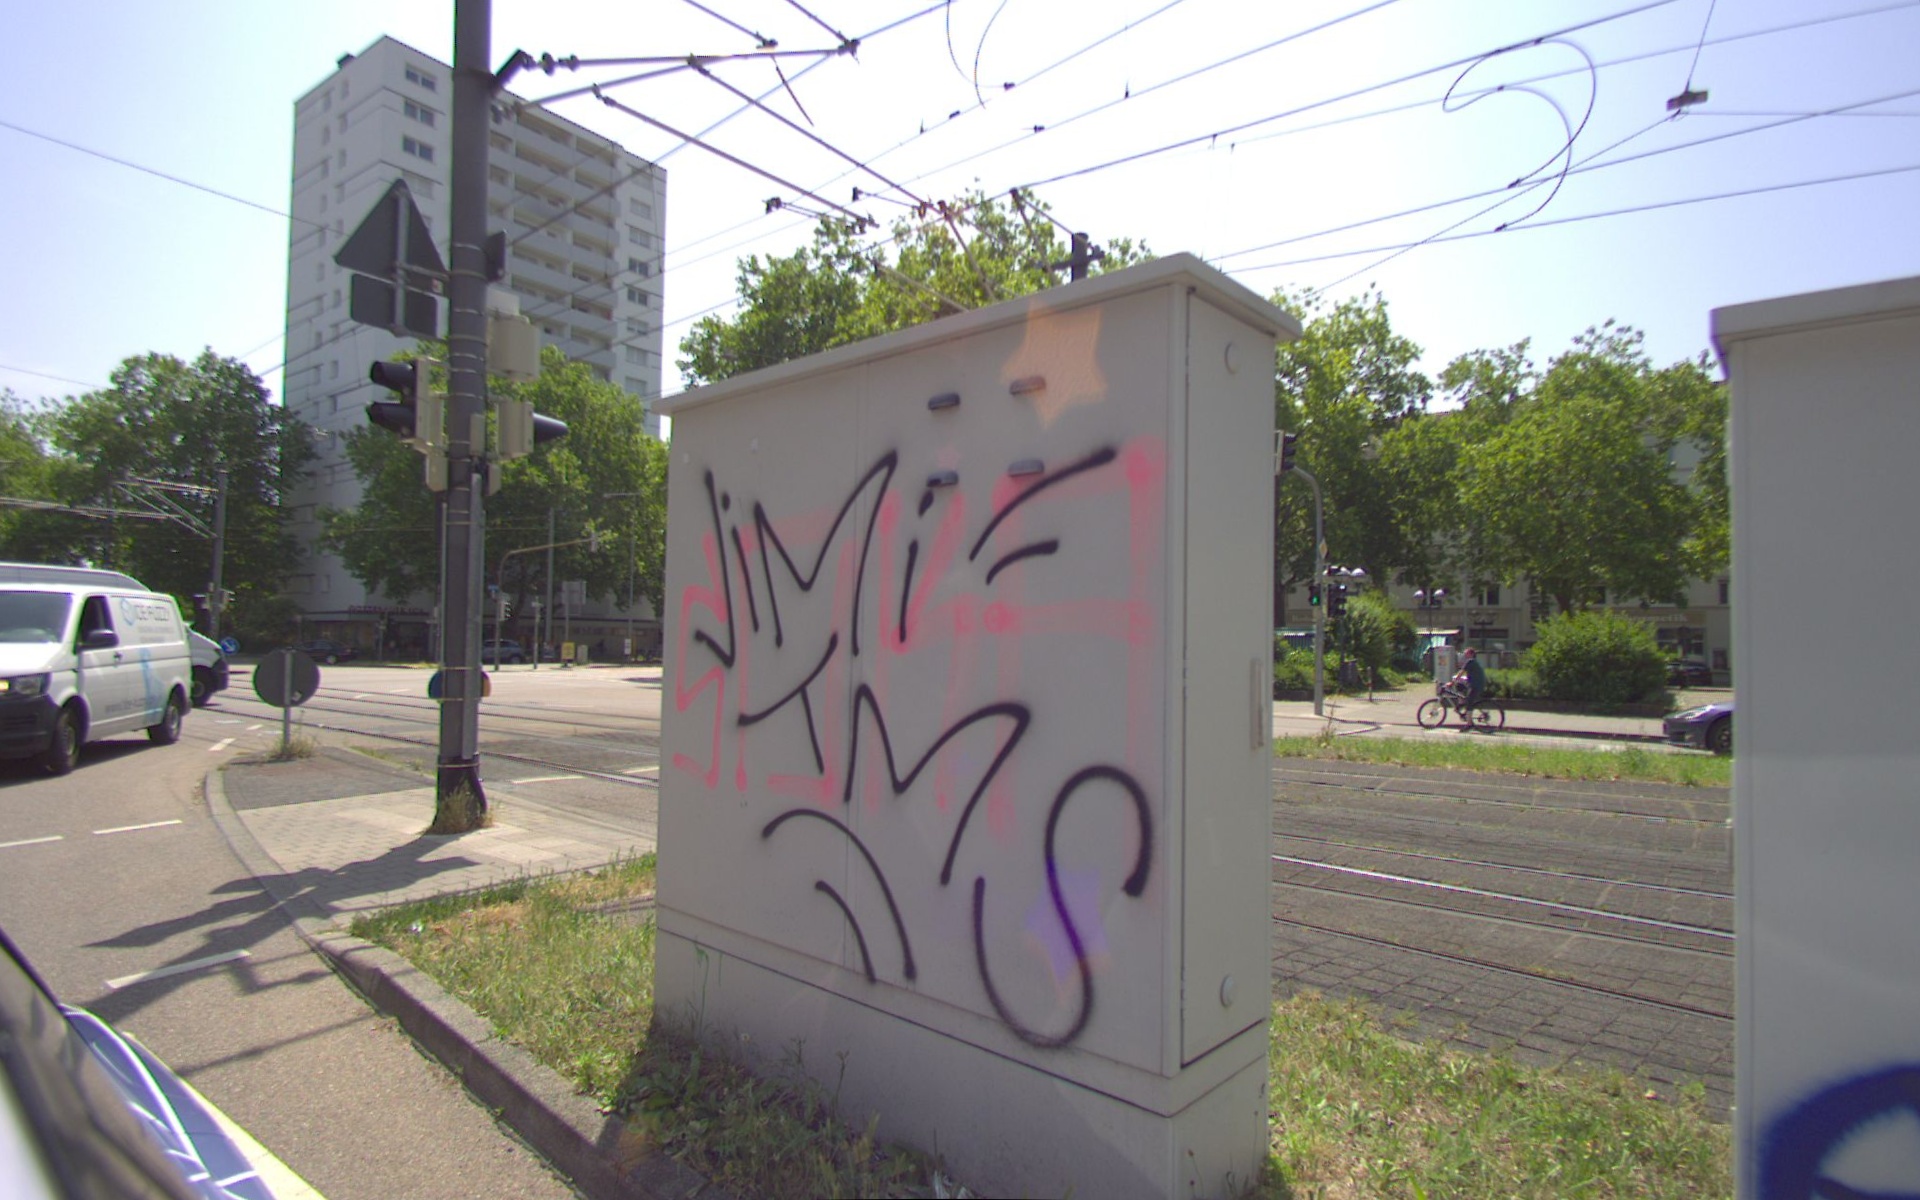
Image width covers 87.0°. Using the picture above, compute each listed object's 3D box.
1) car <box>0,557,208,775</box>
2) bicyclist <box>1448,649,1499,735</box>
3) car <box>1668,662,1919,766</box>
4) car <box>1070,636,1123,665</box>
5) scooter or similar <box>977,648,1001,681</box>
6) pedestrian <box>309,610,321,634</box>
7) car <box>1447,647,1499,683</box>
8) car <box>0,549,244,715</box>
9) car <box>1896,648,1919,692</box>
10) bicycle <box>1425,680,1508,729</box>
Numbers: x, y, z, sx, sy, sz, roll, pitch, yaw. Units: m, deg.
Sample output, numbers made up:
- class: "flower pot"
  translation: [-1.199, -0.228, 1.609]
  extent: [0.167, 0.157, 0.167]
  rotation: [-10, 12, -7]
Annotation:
- class: "car"
  translation: [-10.255, 0.665, 11.171]
  extent: [1.821, 1.968, 4.959]
  rotation: [2, -3, -21]
- class: "bicyclist"
  translation: [10.483, 1.857, 20.654]
  extent: [0.866, 1.698, 0.633]
  rotation: [-1, -2, 33]
- class: "car"
  translation: [13.425, 1.661, 15.122]
  extent: [4.618, 1.369, 1.930]
  rotation: [-1, -3, 35]
- class: "car"
  translation: [10.060, 3.706, 74.417]
  extent: [1.999, 2.029, 3.946]
  rotation: [-1, -2, 40]
- class: "scooter or similar"
  translation: [1.049, 2.324, 36.549]
  extent: [0.253, 1.129, 0.978]
  rotation: [2, -2, -41]
- class: "pedestrian"
  translation: [-45.822, 1.562, 71.858]
  extent: [0.553, 1.724, 0.504]
  rotation: [-1, -2, 37]
- class: "car"
  translation: [21.373, 2.674, 42.091]
  extent: [1.469, 1.394, 3.304]
  rotation: [-1, -2, 35]
- class: "car"
  translation: [-16.170, 0.561, 17.384]
  extent: [2.056, 2.657, 6.607]
  rotation: [0, -3, 12]
- class: "car"
  translation: [45.649, 3.280, 47.580]
  extent: [2.164, 1.964, 3.947]
  rotation: [-1, -2, 39]
- class: "bicycle"
  translation: [10.364, 2.124, 20.741]
  extent: [1.479, 0.889, 0.492]
  rotation: [0, -2, 34]
